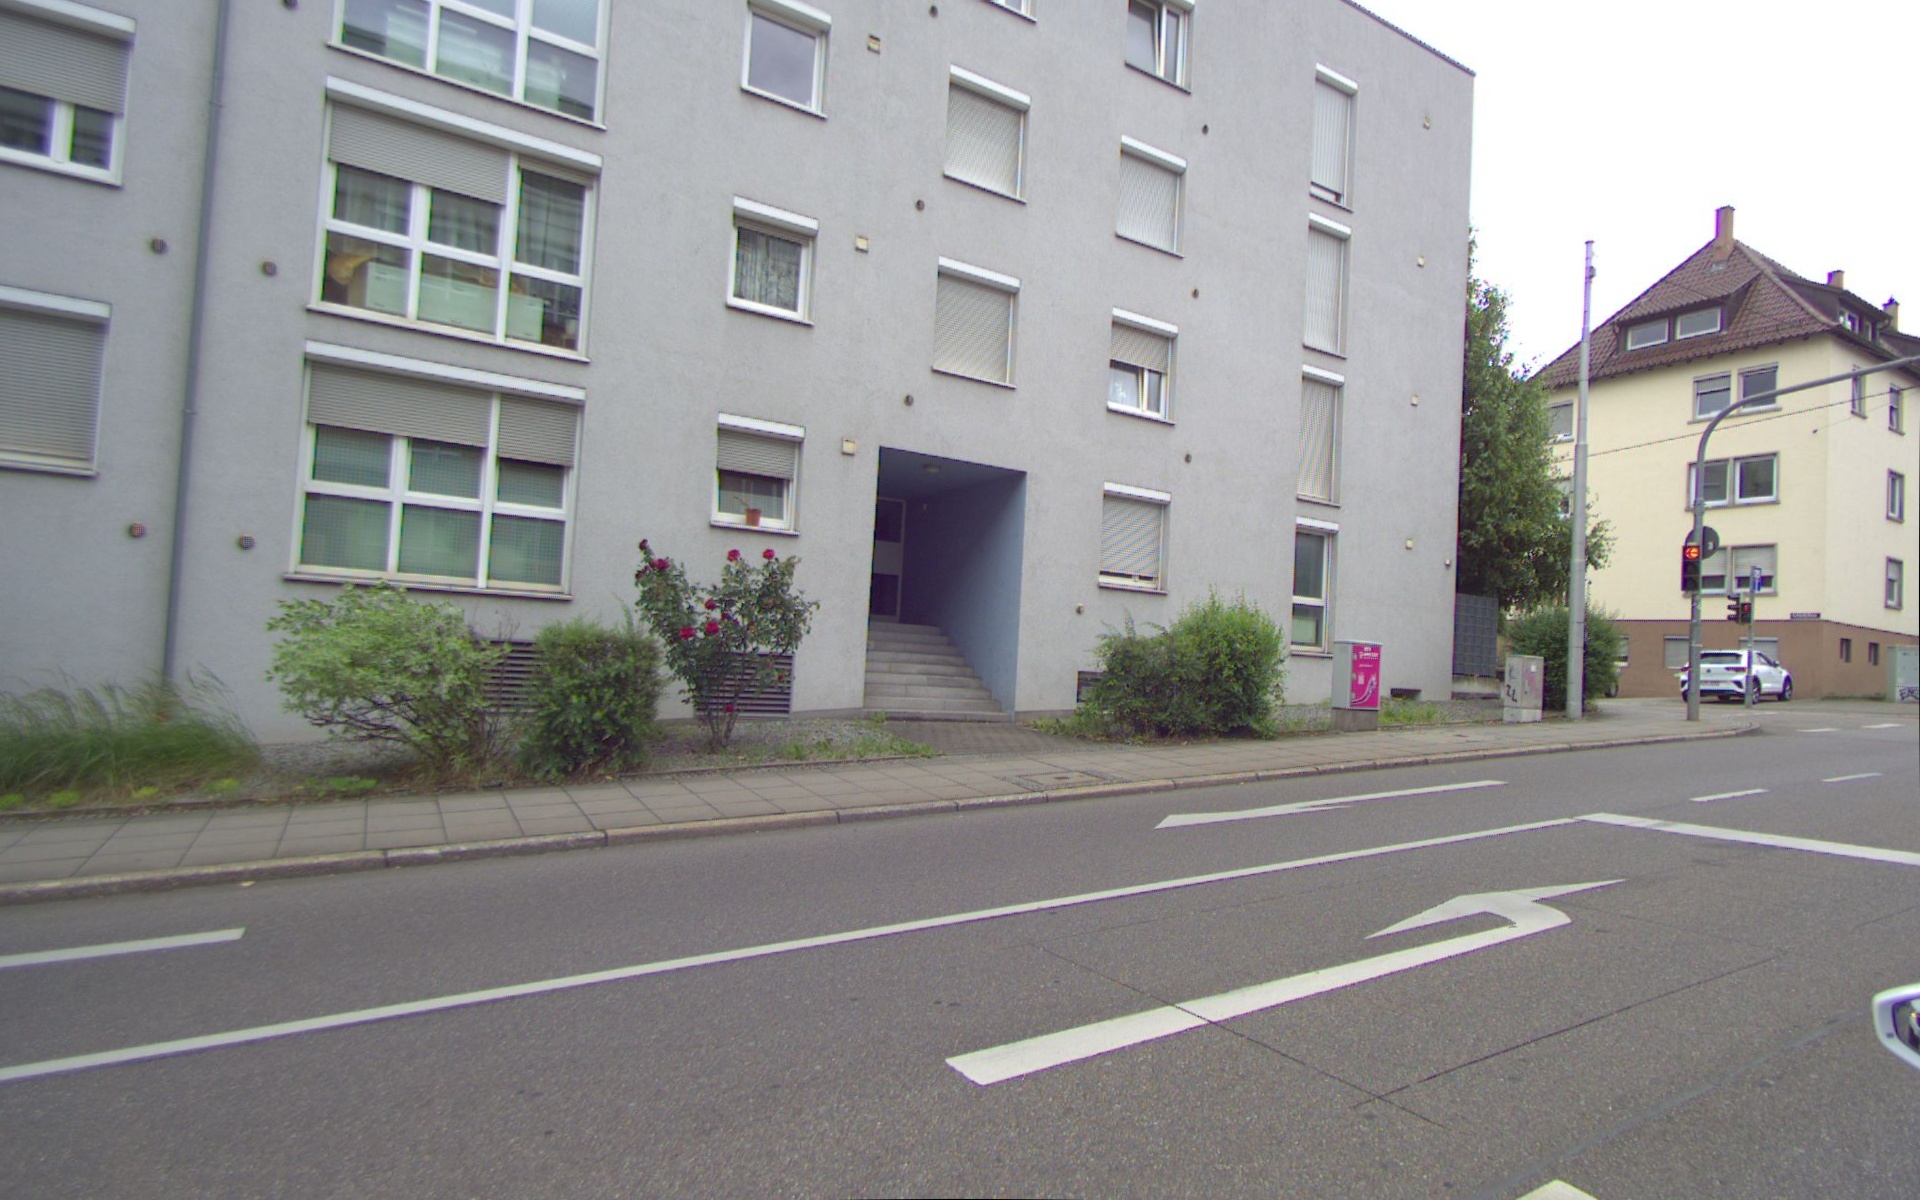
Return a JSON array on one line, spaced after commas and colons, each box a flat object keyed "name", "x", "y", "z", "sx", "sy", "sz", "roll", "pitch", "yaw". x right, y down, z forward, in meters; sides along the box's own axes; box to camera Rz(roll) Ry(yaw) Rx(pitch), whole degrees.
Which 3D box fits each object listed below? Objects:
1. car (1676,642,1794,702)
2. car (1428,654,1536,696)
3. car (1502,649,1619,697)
[{"name": "car", "x": 23.255, "y": 2.119, "z": 30.110, "sx": 3.960, "sy": 1.683, "sz": 1.660, "roll": 2, "pitch": -4, "yaw": -35}, {"name": "car", "x": 19.090, "y": 2.698, "z": 36.693, "sx": 3.953, "sy": 1.380, "sz": 1.662, "roll": 2, "pitch": -1, "yaw": -30}, {"name": "car", "x": 20.533, "y": 2.480, "z": 34.342, "sx": 4.053, "sy": 1.566, "sz": 1.662, "roll": 2, "pitch": -4, "yaw": -30}]
